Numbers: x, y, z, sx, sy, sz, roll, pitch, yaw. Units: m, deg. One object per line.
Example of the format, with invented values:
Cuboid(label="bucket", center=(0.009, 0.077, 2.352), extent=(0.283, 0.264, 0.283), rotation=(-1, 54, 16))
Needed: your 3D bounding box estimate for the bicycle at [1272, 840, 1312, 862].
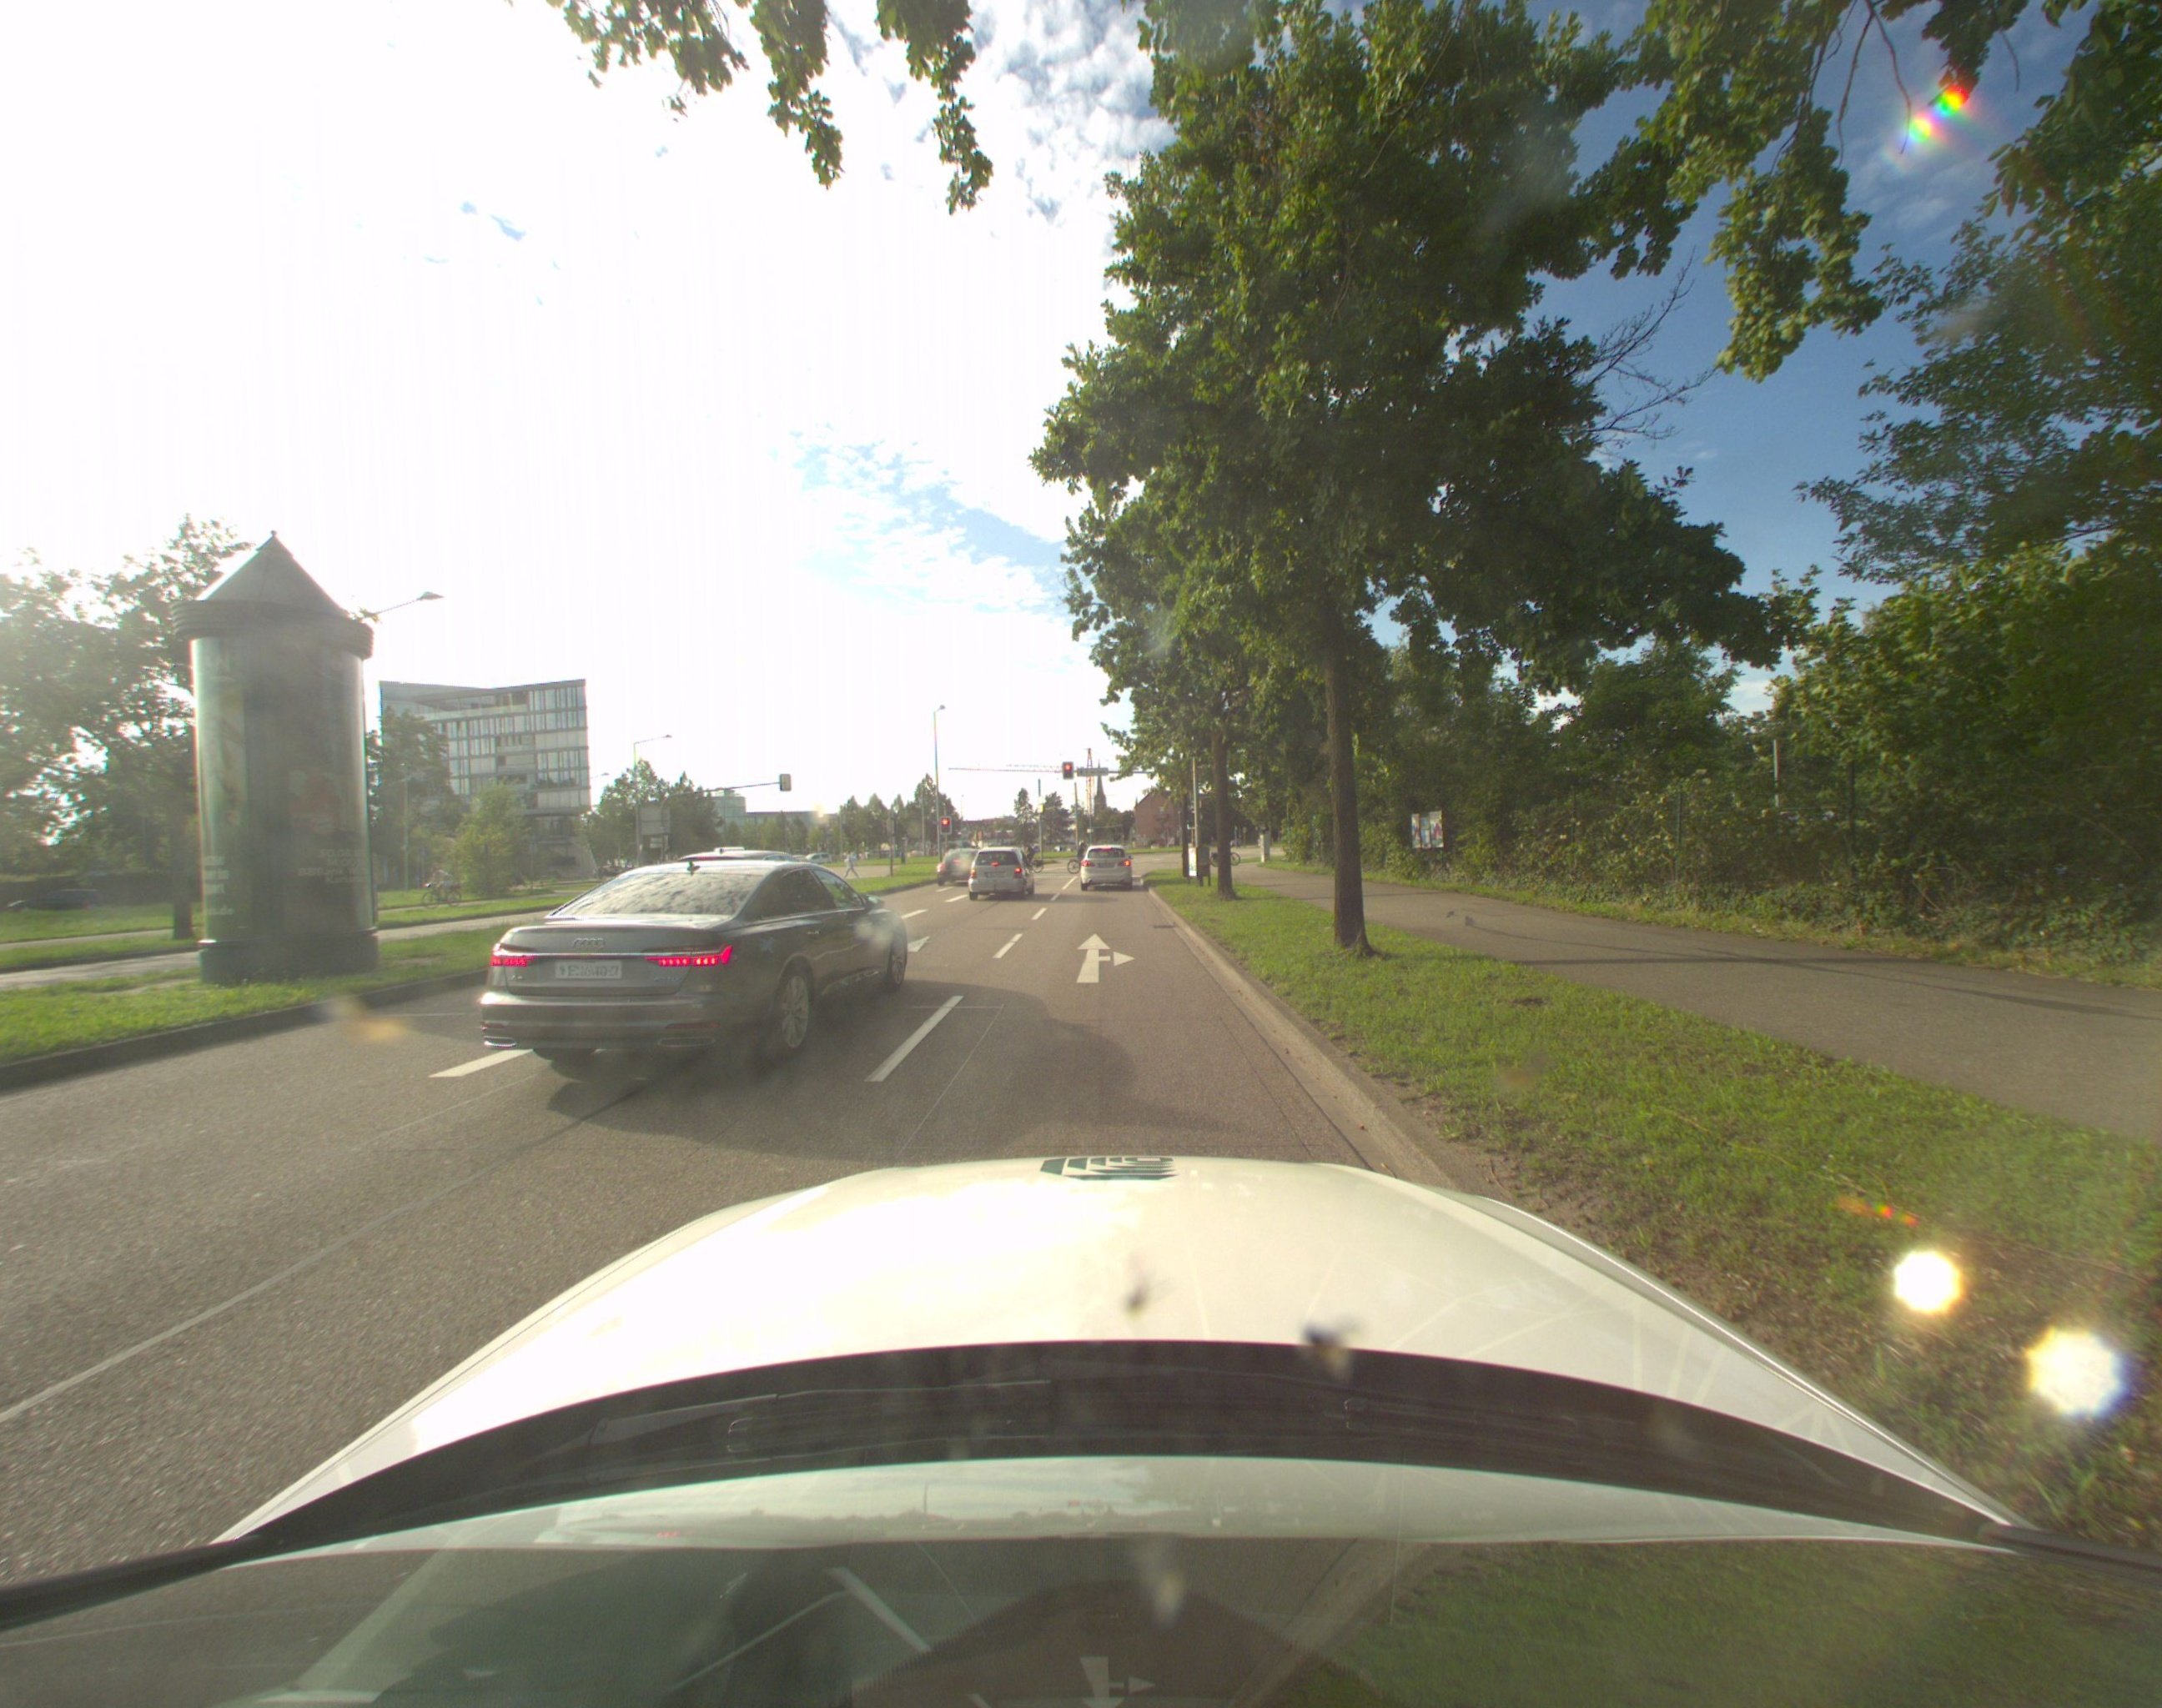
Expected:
Cuboid(label="bicycle", center=(12.162, -0.171, 46.903), extent=(2.041, 1.120, 0.887), rotation=(-2, 0, -13))

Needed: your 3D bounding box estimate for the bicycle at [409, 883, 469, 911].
Cuboid(label="bicycle", center=(-26.475, 1.761, 33.635), extent=(0.891, 0.981, 1.912), rotation=(-3, 1, 1))

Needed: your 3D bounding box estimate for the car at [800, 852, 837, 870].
Cuboid(label="car", center=(-32.861, 0.876, 101.999), extent=(1.804, 2.013, 4.263), rotation=(-3, -1, 29))

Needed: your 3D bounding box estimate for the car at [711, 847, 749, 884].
Cuboid(label="car", center=(-23.498, 0.761, 54.732), extent=(2.002, 2.235, 5.881), rotation=(-4, 1, -22))

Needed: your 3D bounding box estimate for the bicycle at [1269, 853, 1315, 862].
Cuboid(label="bicycle", center=(11.002, 0.172, 42.647), extent=(1.407, 0.385, 2.568), rotation=(-3, 1, -10))

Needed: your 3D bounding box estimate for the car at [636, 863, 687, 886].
Cuboid(label="car", center=(-33.531, 1.648, 65.160), extent=(3.192, 1.574, 1.567), rotation=(-4, 0, -14))

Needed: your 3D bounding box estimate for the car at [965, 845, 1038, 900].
Cuboid(label="car", center=(-2.392, 0.516, 25.473), extent=(1.723, 1.558, 4.060), rotation=(-1, 1, 2))

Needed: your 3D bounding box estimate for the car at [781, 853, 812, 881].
Cuboid(label="car", center=(-18.382, 0.838, 52.759), extent=(1.710, 1.573, 3.975), rotation=(-4, 1, -18))

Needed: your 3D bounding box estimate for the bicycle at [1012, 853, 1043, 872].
Cuboid(label="bicycle", center=(-2.944, 0.465, 45.239), extent=(1.671, 0.967, 0.643), rotation=(-3, 0, -4))

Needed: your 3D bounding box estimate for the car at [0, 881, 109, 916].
Cuboid(label="car", center=(-63.593, 2.718, 50.497), extent=(1.825, 1.727, 4.024), rotation=(-3, 1, 45))

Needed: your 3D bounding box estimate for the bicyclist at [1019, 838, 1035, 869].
Cuboid(label="bicyclist", center=(-3.008, -0.045, 45.235), extent=(0.786, 1.668, 0.549), rotation=(-3, 0, -3))

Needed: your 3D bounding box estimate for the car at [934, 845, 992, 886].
Cuboid(label="car", center=(-4.861, 0.433, 34.104), extent=(1.714, 1.564, 3.880), rotation=(-1, 1, 2))

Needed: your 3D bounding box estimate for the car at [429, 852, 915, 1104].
Cuboid(label="car", center=(-2.952, 0.750, 7.251), extent=(1.883, 1.483, 4.614), rotation=(-1, 0, 1))

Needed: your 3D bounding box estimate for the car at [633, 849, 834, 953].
Cuboid(label="car", center=(-5.981, 0.709, 14.585), extent=(1.723, 1.558, 4.021), rotation=(-1, 1, 2))

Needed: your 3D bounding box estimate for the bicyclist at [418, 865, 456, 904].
Cuboid(label="bicyclist", center=(-26.492, 1.262, 33.518), extent=(0.703, 1.525, 0.990), rotation=(-3, 0, 1))

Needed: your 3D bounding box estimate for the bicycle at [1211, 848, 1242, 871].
Cuboid(label="bicycle", center=(8.026, 0.285, 44.979), extent=(1.614, 1.217, 0.491), rotation=(-2, 0, 0))

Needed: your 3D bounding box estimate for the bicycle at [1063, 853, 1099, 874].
Cuboid(label="bicycle", center=(0.013, 0.480, 42.938), extent=(1.771, 1.050, 0.708), rotation=(-2, 0, -11))

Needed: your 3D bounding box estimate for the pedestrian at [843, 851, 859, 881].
Cuboid(label="pedestrian", center=(-12.423, 0.649, 43.950), extent=(0.653, 1.569, 0.615), rotation=(-2, 0, -3))

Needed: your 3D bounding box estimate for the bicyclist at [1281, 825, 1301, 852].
Cuboid(label="bicyclist", center=(12.080, -0.868, 46.919), extent=(0.821, 1.489, 0.759), rotation=(-2, 0, -12))

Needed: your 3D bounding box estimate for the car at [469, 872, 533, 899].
Cuboid(label="car", center=(-47.609, 2.554, 66.894), extent=(1.975, 2.014, 4.023), rotation=(-1, -1, 44))

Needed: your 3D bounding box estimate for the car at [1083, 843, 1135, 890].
Cuboid(label="car", center=(0.999, 0.409, 29.518), extent=(1.723, 1.558, 4.059), rotation=(-1, 1, 1))

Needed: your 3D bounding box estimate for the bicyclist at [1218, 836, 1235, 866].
Cuboid(label="bicyclist", center=(8.031, -0.166, 44.973), extent=(0.765, 1.647, 0.535), rotation=(-2, 1, 1))

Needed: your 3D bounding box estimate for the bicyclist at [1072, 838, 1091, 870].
Cuboid(label="bicyclist", center=(0.037, 0.013, 42.955), extent=(0.830, 1.647, 0.683), rotation=(-1, 0, -11))
